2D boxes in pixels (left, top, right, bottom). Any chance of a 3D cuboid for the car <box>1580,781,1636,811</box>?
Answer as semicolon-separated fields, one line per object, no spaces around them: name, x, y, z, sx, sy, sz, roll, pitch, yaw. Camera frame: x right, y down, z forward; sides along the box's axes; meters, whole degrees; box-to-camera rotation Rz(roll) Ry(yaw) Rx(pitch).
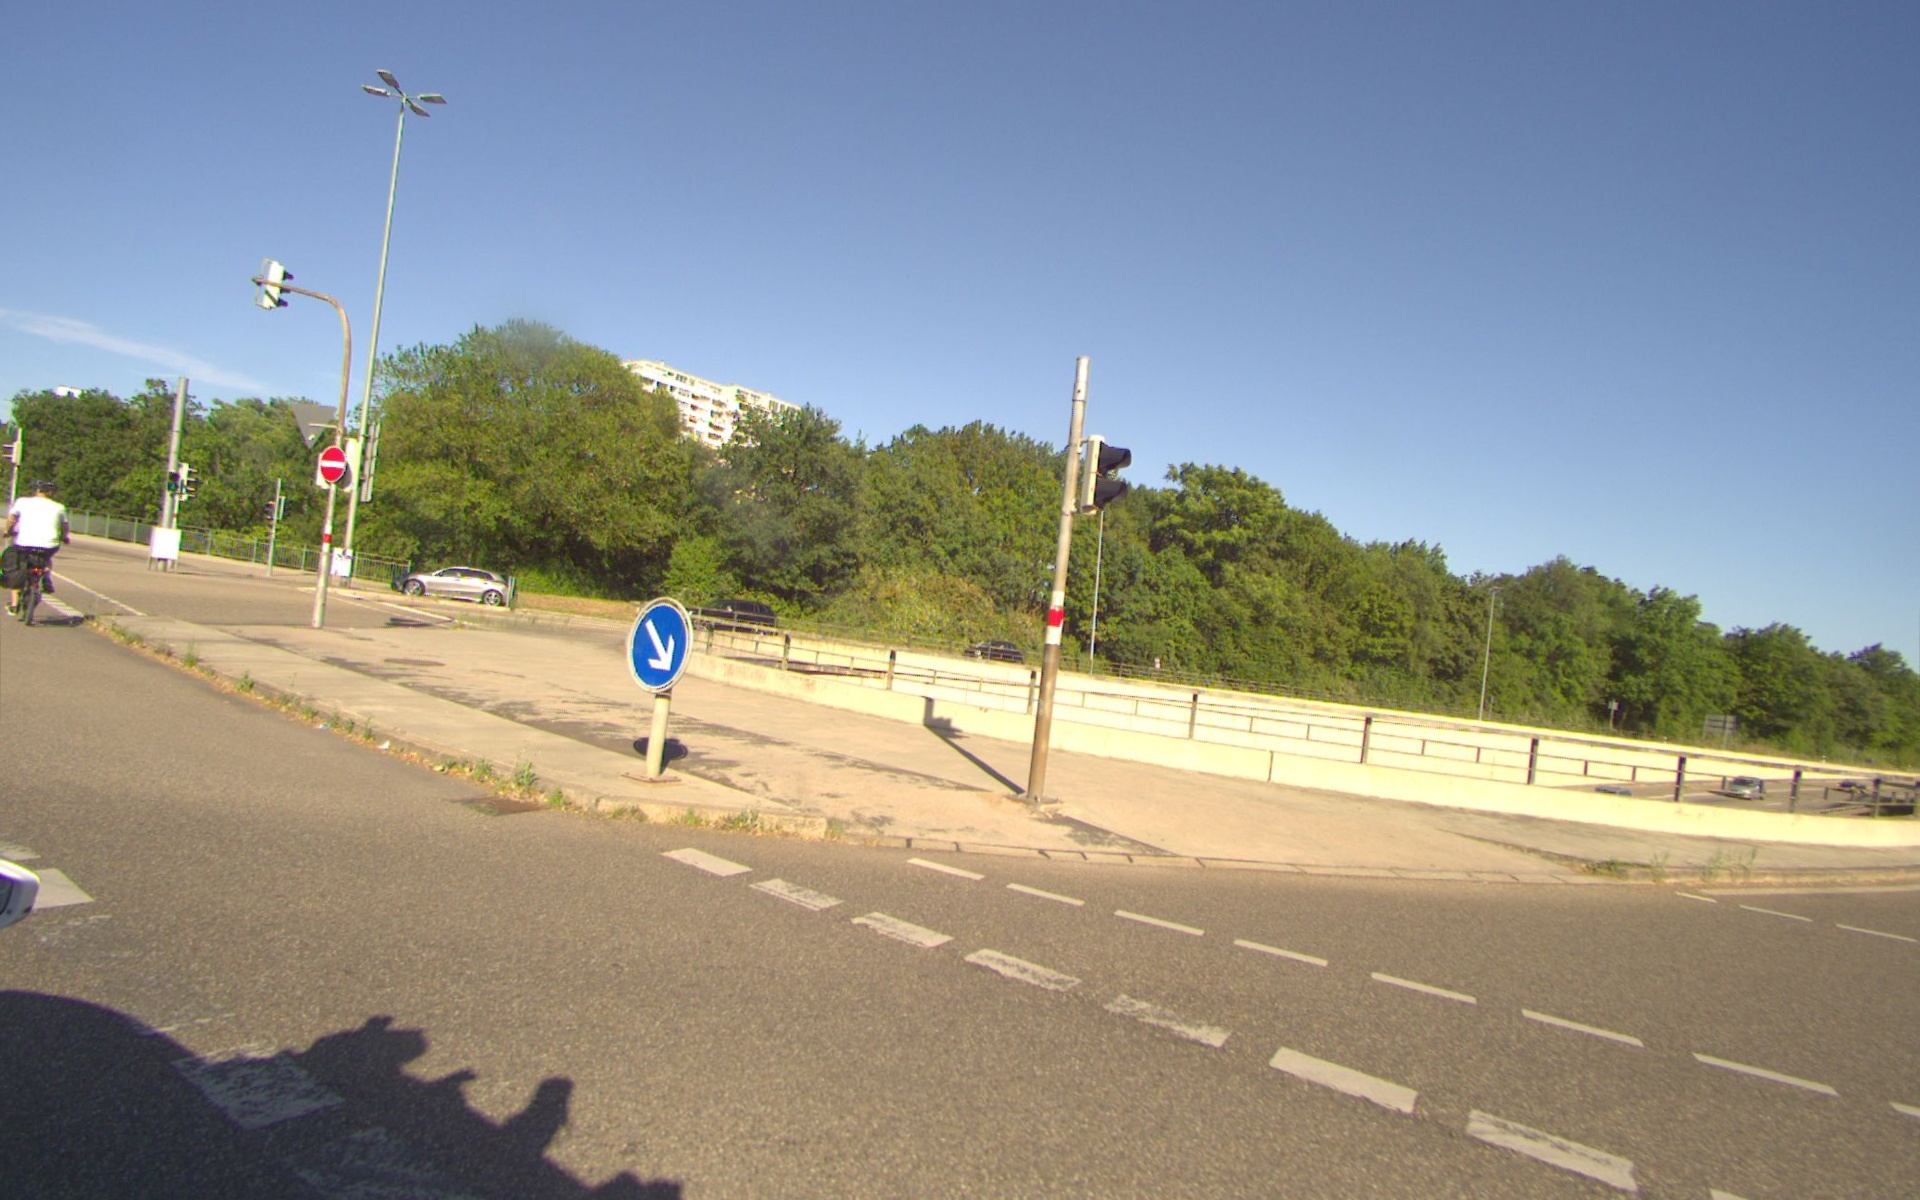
car;42.188;12.744;65.499;3.975;1.503;1.977;10;-3;-42

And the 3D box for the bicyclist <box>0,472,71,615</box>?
bicyclist;-11.982;-0.726;12.787;1.097;1.678;0.723;6;-2;41

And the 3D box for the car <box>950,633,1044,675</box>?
car;1.962;2.824;52.706;4.639;1.635;1.843;8;-1;-37

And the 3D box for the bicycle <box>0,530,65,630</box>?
bicycle;-11.994;-0.296;12.732;1.801;1.114;0.691;6;-2;42

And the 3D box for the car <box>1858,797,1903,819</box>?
car;72.694;16.412;79.398;3.970;1.413;1.980;9;-4;-38

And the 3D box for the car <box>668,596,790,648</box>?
car;-9.893;0.952;43.204;4.632;1.635;1.846;8;-1;-32

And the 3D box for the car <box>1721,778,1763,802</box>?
car;65.025;15.806;83.602;3.976;1.591;1.977;10;-3;-42

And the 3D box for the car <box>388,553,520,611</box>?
car;-19.215;-0.667;38.427;4.187;1.570;1.853;8;-1;-21
